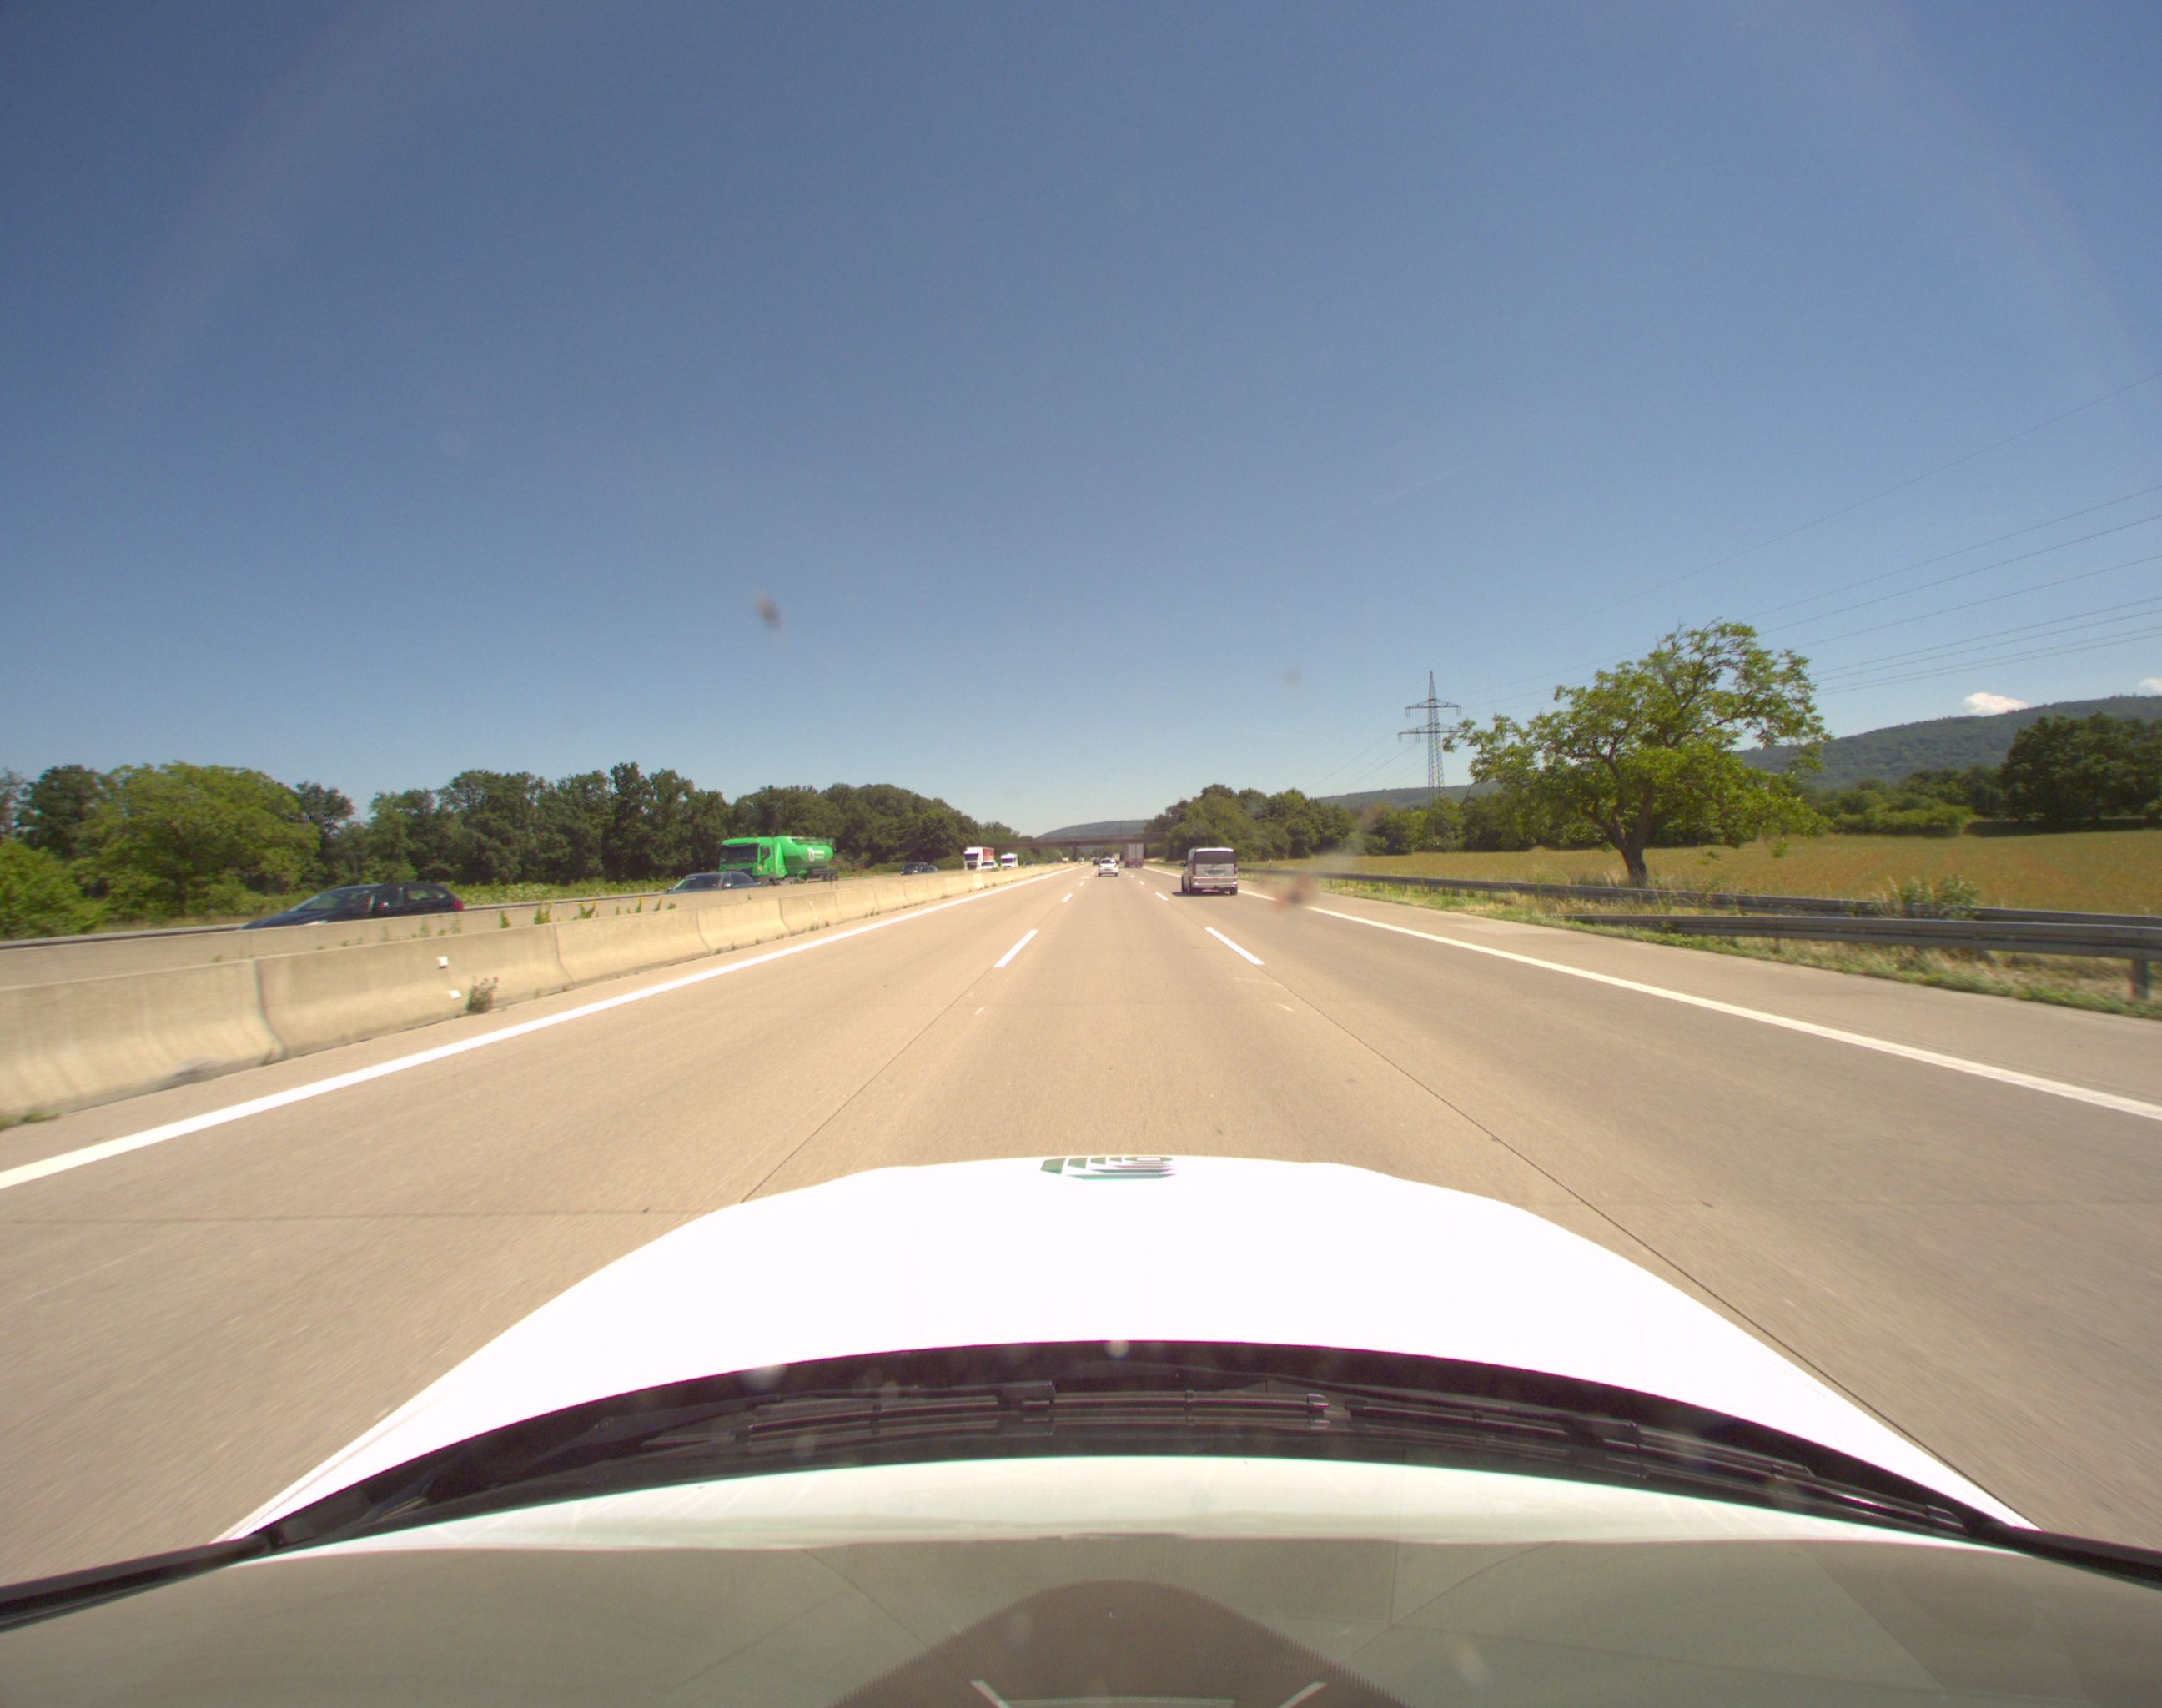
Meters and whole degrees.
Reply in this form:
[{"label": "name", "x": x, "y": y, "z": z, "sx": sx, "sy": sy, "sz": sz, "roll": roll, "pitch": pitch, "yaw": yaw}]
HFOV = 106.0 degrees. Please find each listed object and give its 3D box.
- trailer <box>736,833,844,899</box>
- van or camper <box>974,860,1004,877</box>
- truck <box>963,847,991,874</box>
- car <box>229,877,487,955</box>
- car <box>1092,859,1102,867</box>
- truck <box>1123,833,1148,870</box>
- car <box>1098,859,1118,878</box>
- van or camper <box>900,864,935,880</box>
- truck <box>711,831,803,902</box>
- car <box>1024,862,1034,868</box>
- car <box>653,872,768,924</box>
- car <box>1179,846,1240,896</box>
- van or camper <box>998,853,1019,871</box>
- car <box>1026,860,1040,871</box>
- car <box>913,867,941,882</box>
[{"label": "trailer", "x": -19.039, "y": 0.739, "z": 54.237, "sx": 2.725, "sy": 3.878, "sz": 11.110, "roll": -2, "pitch": 0, "yaw": 2}, {"label": "van or camper", "x": -9.752, "y": 1.510, "z": 86.525, "sx": 2.233, "sy": 1.692, "sz": 5.852, "roll": -2, "pitch": 0, "yaw": 2}, {"label": "truck", "x": -16.079, "y": 1.024, "z": 126.609, "sx": 2.988, "sy": 3.983, "sz": 7.298, "roll": -2, "pitch": 0, "yaw": 2}, {"label": "car", "x": -15.957, "y": 1.291, "z": 18.369, "sx": 1.618, "sy": 1.401, "sz": 4.548, "roll": -2, "pitch": 0, "yaw": 2}, {"label": "car", "x": 3.508, "y": 2.017, "z": 179.391, "sx": 2.016, "sy": 1.701, "sz": 3.998, "roll": 0, "pitch": -1, "yaw": -1}, {"label": "truck", "x": 9.114, "y": -0.334, "z": 137.934, "sx": 3.564, "sy": 5.787, "sz": 18.253, "roll": -1, "pitch": -1, "yaw": 2}, {"label": "car", "x": 2.357, "y": 1.237, "z": 71.028, "sx": 1.635, "sy": 1.662, "sz": 3.361, "roll": 0, "pitch": -1, "yaw": 2}, {"label": "van or camper", "x": -17.572, "y": 1.915, "z": 87.883, "sx": 2.357, "sy": 1.622, "sz": 6.092, "roll": -2, "pitch": 0, "yaw": 1}, {"label": "truck", "x": -19.230, "y": 0.712, "z": 48.812, "sx": 2.733, "sy": 3.883, "sz": 6.207, "roll": -2, "pitch": 0, "yaw": 2}, {"label": "car", "x": -10.953, "y": 2.360, "z": 172.676, "sx": 1.681, "sy": 1.263, "sz": 4.793, "roll": -2, "pitch": 0, "yaw": 2}, {"label": "car", "x": -11.443, "y": 1.314, "z": 25.436, "sx": 1.709, "sy": 1.401, "sz": 3.809, "roll": -2, "pitch": 0, "yaw": 2}, {"label": "car", "x": 5.289, "y": 0.681, "z": 34.218, "sx": 1.872, "sy": 1.889, "sz": 5.281, "roll": -1, "pitch": 0, "yaw": 2}, {"label": "van or camper", "x": -12.314, "y": 1.294, "z": 139.642, "sx": 2.516, "sy": 2.890, "sz": 7.941, "roll": -2, "pitch": 0, "yaw": 2}, {"label": "car", "x": -7.840, "y": 1.855, "z": 132.384, "sx": 1.787, "sy": 1.555, "sz": 4.603, "roll": -2, "pitch": 0, "yaw": 2}, {"label": "car", "x": -14.565, "y": 1.946, "z": 77.319, "sx": 1.689, "sy": 1.333, "sz": 4.002, "roll": -2, "pitch": 0, "yaw": 2}]
